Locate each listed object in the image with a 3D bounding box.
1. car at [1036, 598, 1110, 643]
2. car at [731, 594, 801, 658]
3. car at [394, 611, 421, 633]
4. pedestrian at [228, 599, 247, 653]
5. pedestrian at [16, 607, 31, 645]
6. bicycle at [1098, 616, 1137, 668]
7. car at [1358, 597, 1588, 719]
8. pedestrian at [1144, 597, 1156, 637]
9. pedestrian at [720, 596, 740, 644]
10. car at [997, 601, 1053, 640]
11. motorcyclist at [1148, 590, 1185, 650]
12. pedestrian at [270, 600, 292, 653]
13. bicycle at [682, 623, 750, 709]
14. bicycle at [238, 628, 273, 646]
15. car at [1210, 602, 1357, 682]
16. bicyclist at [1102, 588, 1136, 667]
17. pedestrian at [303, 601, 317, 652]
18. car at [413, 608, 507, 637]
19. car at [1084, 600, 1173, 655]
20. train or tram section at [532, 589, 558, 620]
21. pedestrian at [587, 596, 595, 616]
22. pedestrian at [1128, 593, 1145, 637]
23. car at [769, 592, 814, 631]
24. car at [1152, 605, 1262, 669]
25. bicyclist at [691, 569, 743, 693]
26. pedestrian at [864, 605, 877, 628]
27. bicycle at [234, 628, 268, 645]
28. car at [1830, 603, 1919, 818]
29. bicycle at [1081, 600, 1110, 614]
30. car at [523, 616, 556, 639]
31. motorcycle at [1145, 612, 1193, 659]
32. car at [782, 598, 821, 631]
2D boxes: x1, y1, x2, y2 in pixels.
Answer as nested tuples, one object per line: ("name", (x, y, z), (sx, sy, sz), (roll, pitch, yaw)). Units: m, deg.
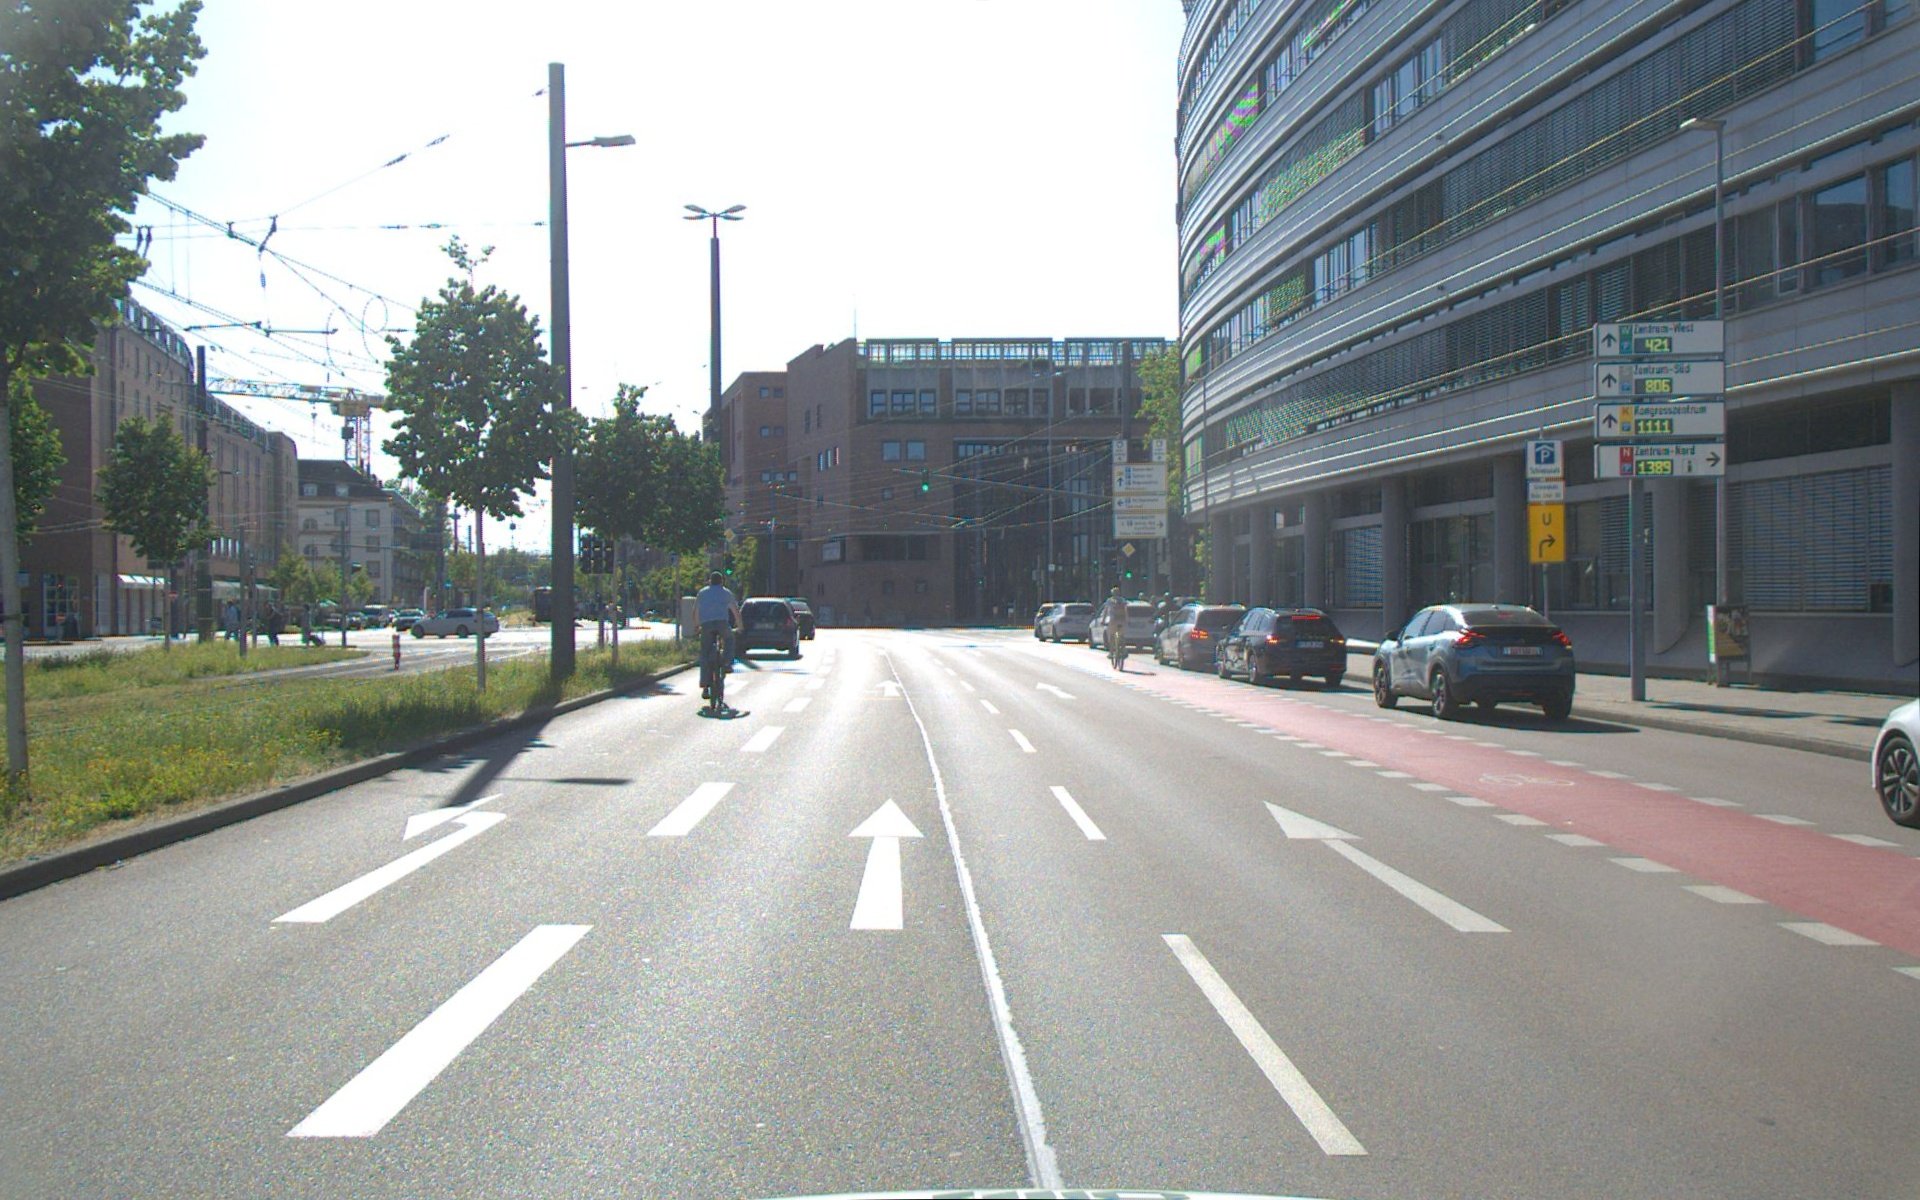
("car", (4.204, 0.729, 61.953), (1.871, 1.568, 4.129), (1, 0, -9))
("car", (-5.129, 0.667, 44.078), (1.692, 1.591, 3.674), (-1, 0, -5))
("car", (-39.849, 1.590, 119.354), (1.584, 1.422, 3.903), (-5, 1, -16))
("pedestrian", (-24.965, 0.897, 57.139), (0.457, 1.863, 0.452), (0, 0, -42))
("pedestrian", (-49.184, 1.357, 86.890), (0.514, 1.966, 0.748), (-1, 0, -16))
("bicycle", (3.643, 0.966, 38.348), (0.636, 1.129, 1.757), (-1, 1, -3))
("car", (7.119, 0.743, 23.426), (1.687, 1.551, 4.396), (0, 0, -3))
("pedestrian", (8.063, 0.715, 70.232), (0.418, 1.674, 0.562), (-2, 1, 9))
("pedestrian", (-8.673, 0.733, 62.342), (0.659, 1.783, 0.766), (-1, 0, -16))
("car", (2.834, 0.899, 73.265), (1.869, 1.611, 4.133), (1, 0, -6))
("motorcyclist", (5.546, 0.545, 44.552), (0.812, 1.588, 0.941), (1, -1, -4))
("pedestrian", (-24.037, 0.930, 58.524), (0.577, 1.863, 0.490), (0, 0, -42))
("bicycle", (-3.418, 0.897, 23.350), (0.673, 1.088, 2.695), (1, 0, -3))
("bicycle", (-55.965, 2.931, 131.354), (2.437, 1.333, 0.732), (-1, 0, -6))
("car", (6.313, 0.783, 32.778), (1.688, 1.447, 4.633), (1, 0, -5))
("bicyclist", (3.652, 0.623, 38.055), (0.636, 1.783, 1.045), (-1, 1, -3))
("pedestrian", (-23.946, 0.990, 60.960), (0.382, 1.863, 0.458), (-1, 0, -35))
("car", (-25.331, 1.130, 83.731), (4.311, 1.405, 2.065), (-1, 0, 26))
("car", (5.263, 0.844, 52.254), (1.870, 1.611, 4.131), (1, 0, -8))
("train or tram section", (-42.875, 0.487, 171.202), (2.286, 3.056, 13.115), (-1, 0, -13))
("pedestrian", (-31.533, 0.541, 141.375), (0.530, 1.684, 0.703), (-1, -1, -18))
("pedestrian", (7.516, 0.631, 70.332), (0.624, 1.829, 0.609), (-2, 1, 9))
("car", (-6.670, 0.446, 65.560), (1.693, 1.474, 4.515), (-1, 0, -6))
("car", (5.821, 0.832, 39.484), (1.687, 1.420, 4.785), (0, 0, -3))
("bicyclist", (-3.396, 0.424, 23.201), (0.605, 1.699, 1.019), (1, 0, -3))
("pedestrian", (-6.268, 1.185, 115.779), (0.608, 1.590, 0.981), (-1, -1, -19))
("bicycle", (-56.760, 2.945, 132.419), (2.437, 1.333, 0.732), (-1, 0, -6))
("car", (7.200, 0.756, 10.121), (1.735, 1.428, 4.296), (1, 0, 4))
("bicycle", (8.422, 0.413, 102.860), (1.641, 0.820, 0.671), (-1, 0, -15))
("car", (-33.019, 2.158, 129.757), (2.228, 1.757, 3.922), (-1, 0, -19))
("motorcycle", (5.598, 0.952, 44.421), (0.812, 1.222, 2.388), (1, -1, -4))
("car", (-8.900, 0.778, 92.635), (1.750, 1.732, 4.126), (1, 0, -12))
